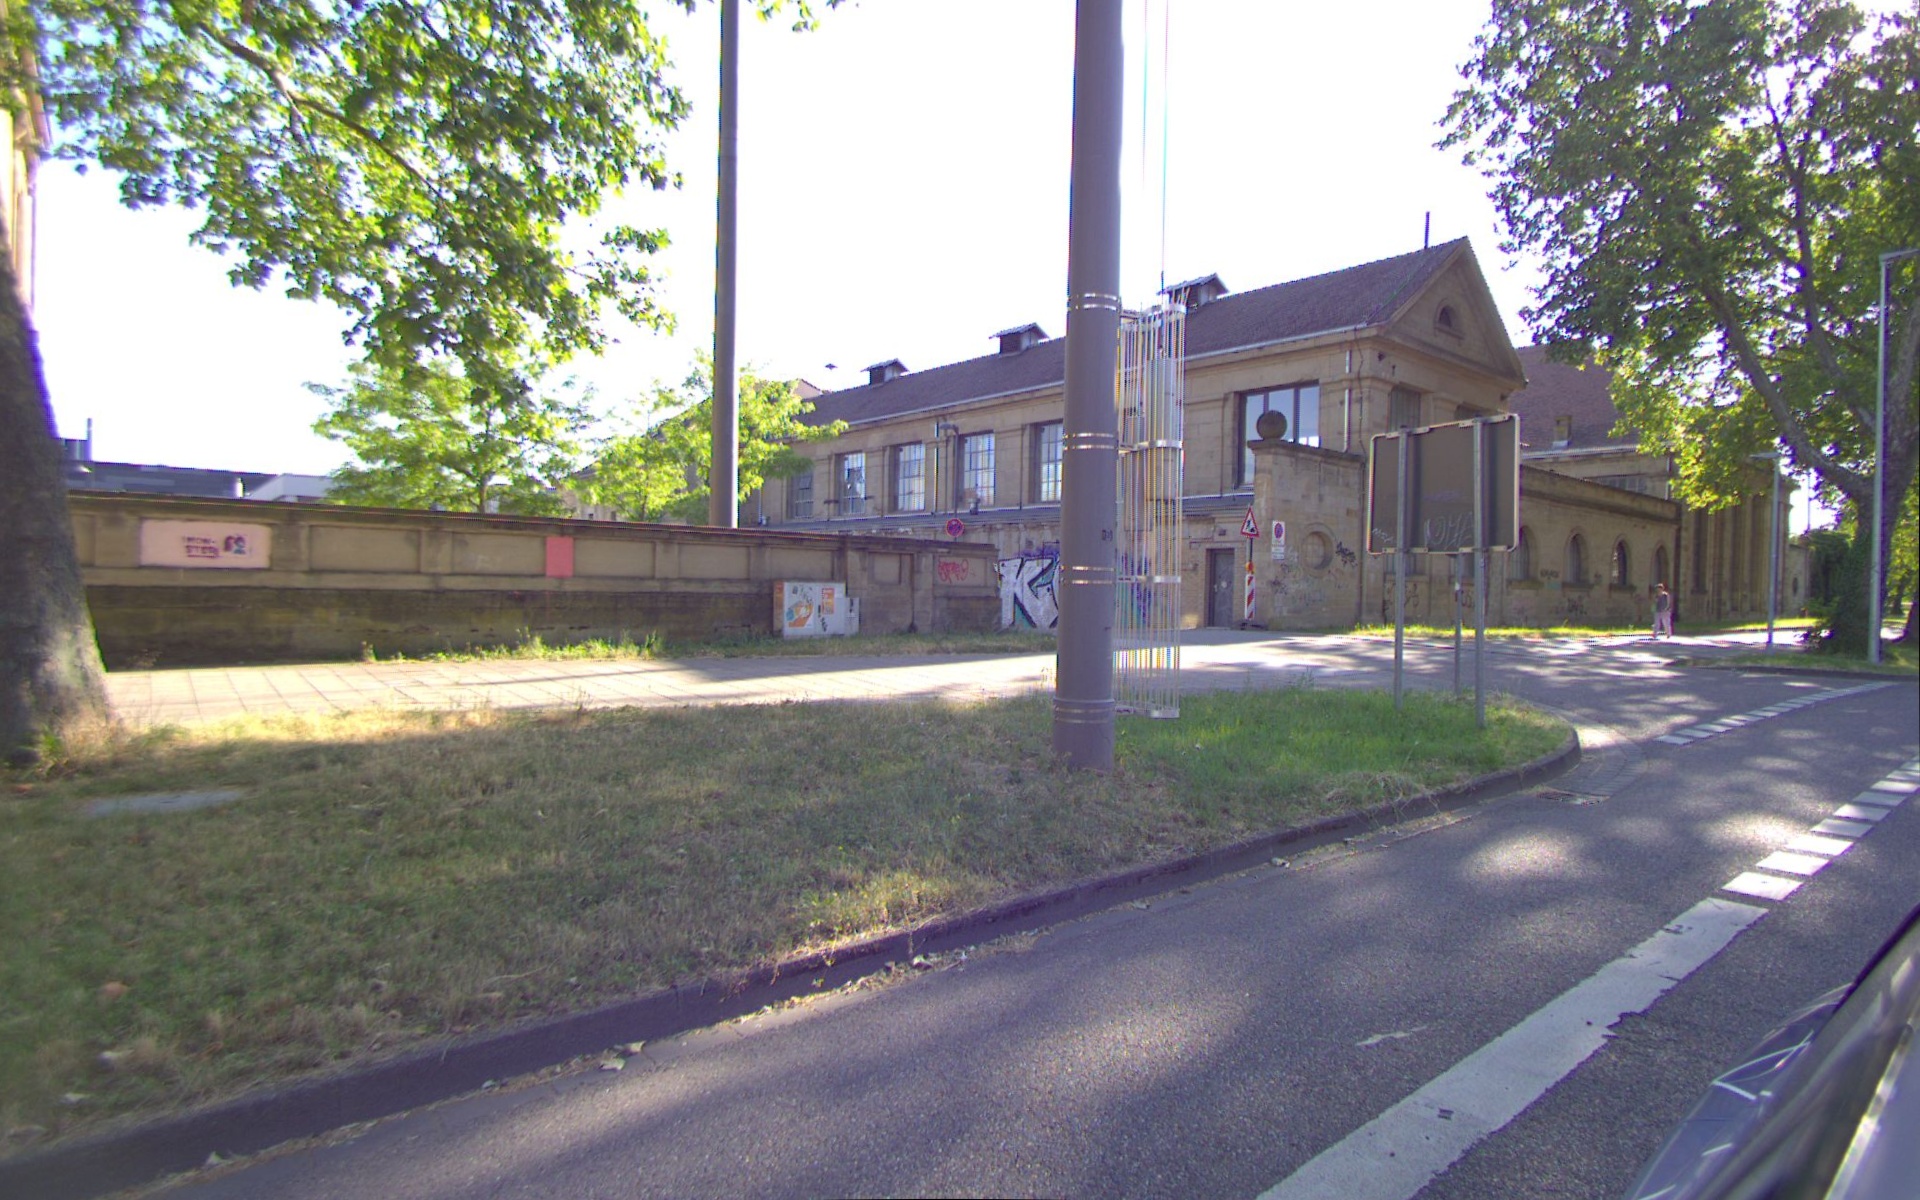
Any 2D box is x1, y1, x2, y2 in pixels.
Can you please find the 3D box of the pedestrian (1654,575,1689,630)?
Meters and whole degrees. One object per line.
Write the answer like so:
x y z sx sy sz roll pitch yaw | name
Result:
22.126 0.069 31.461 0.859 1.682 0.671 0 2 -43 | pedestrian
